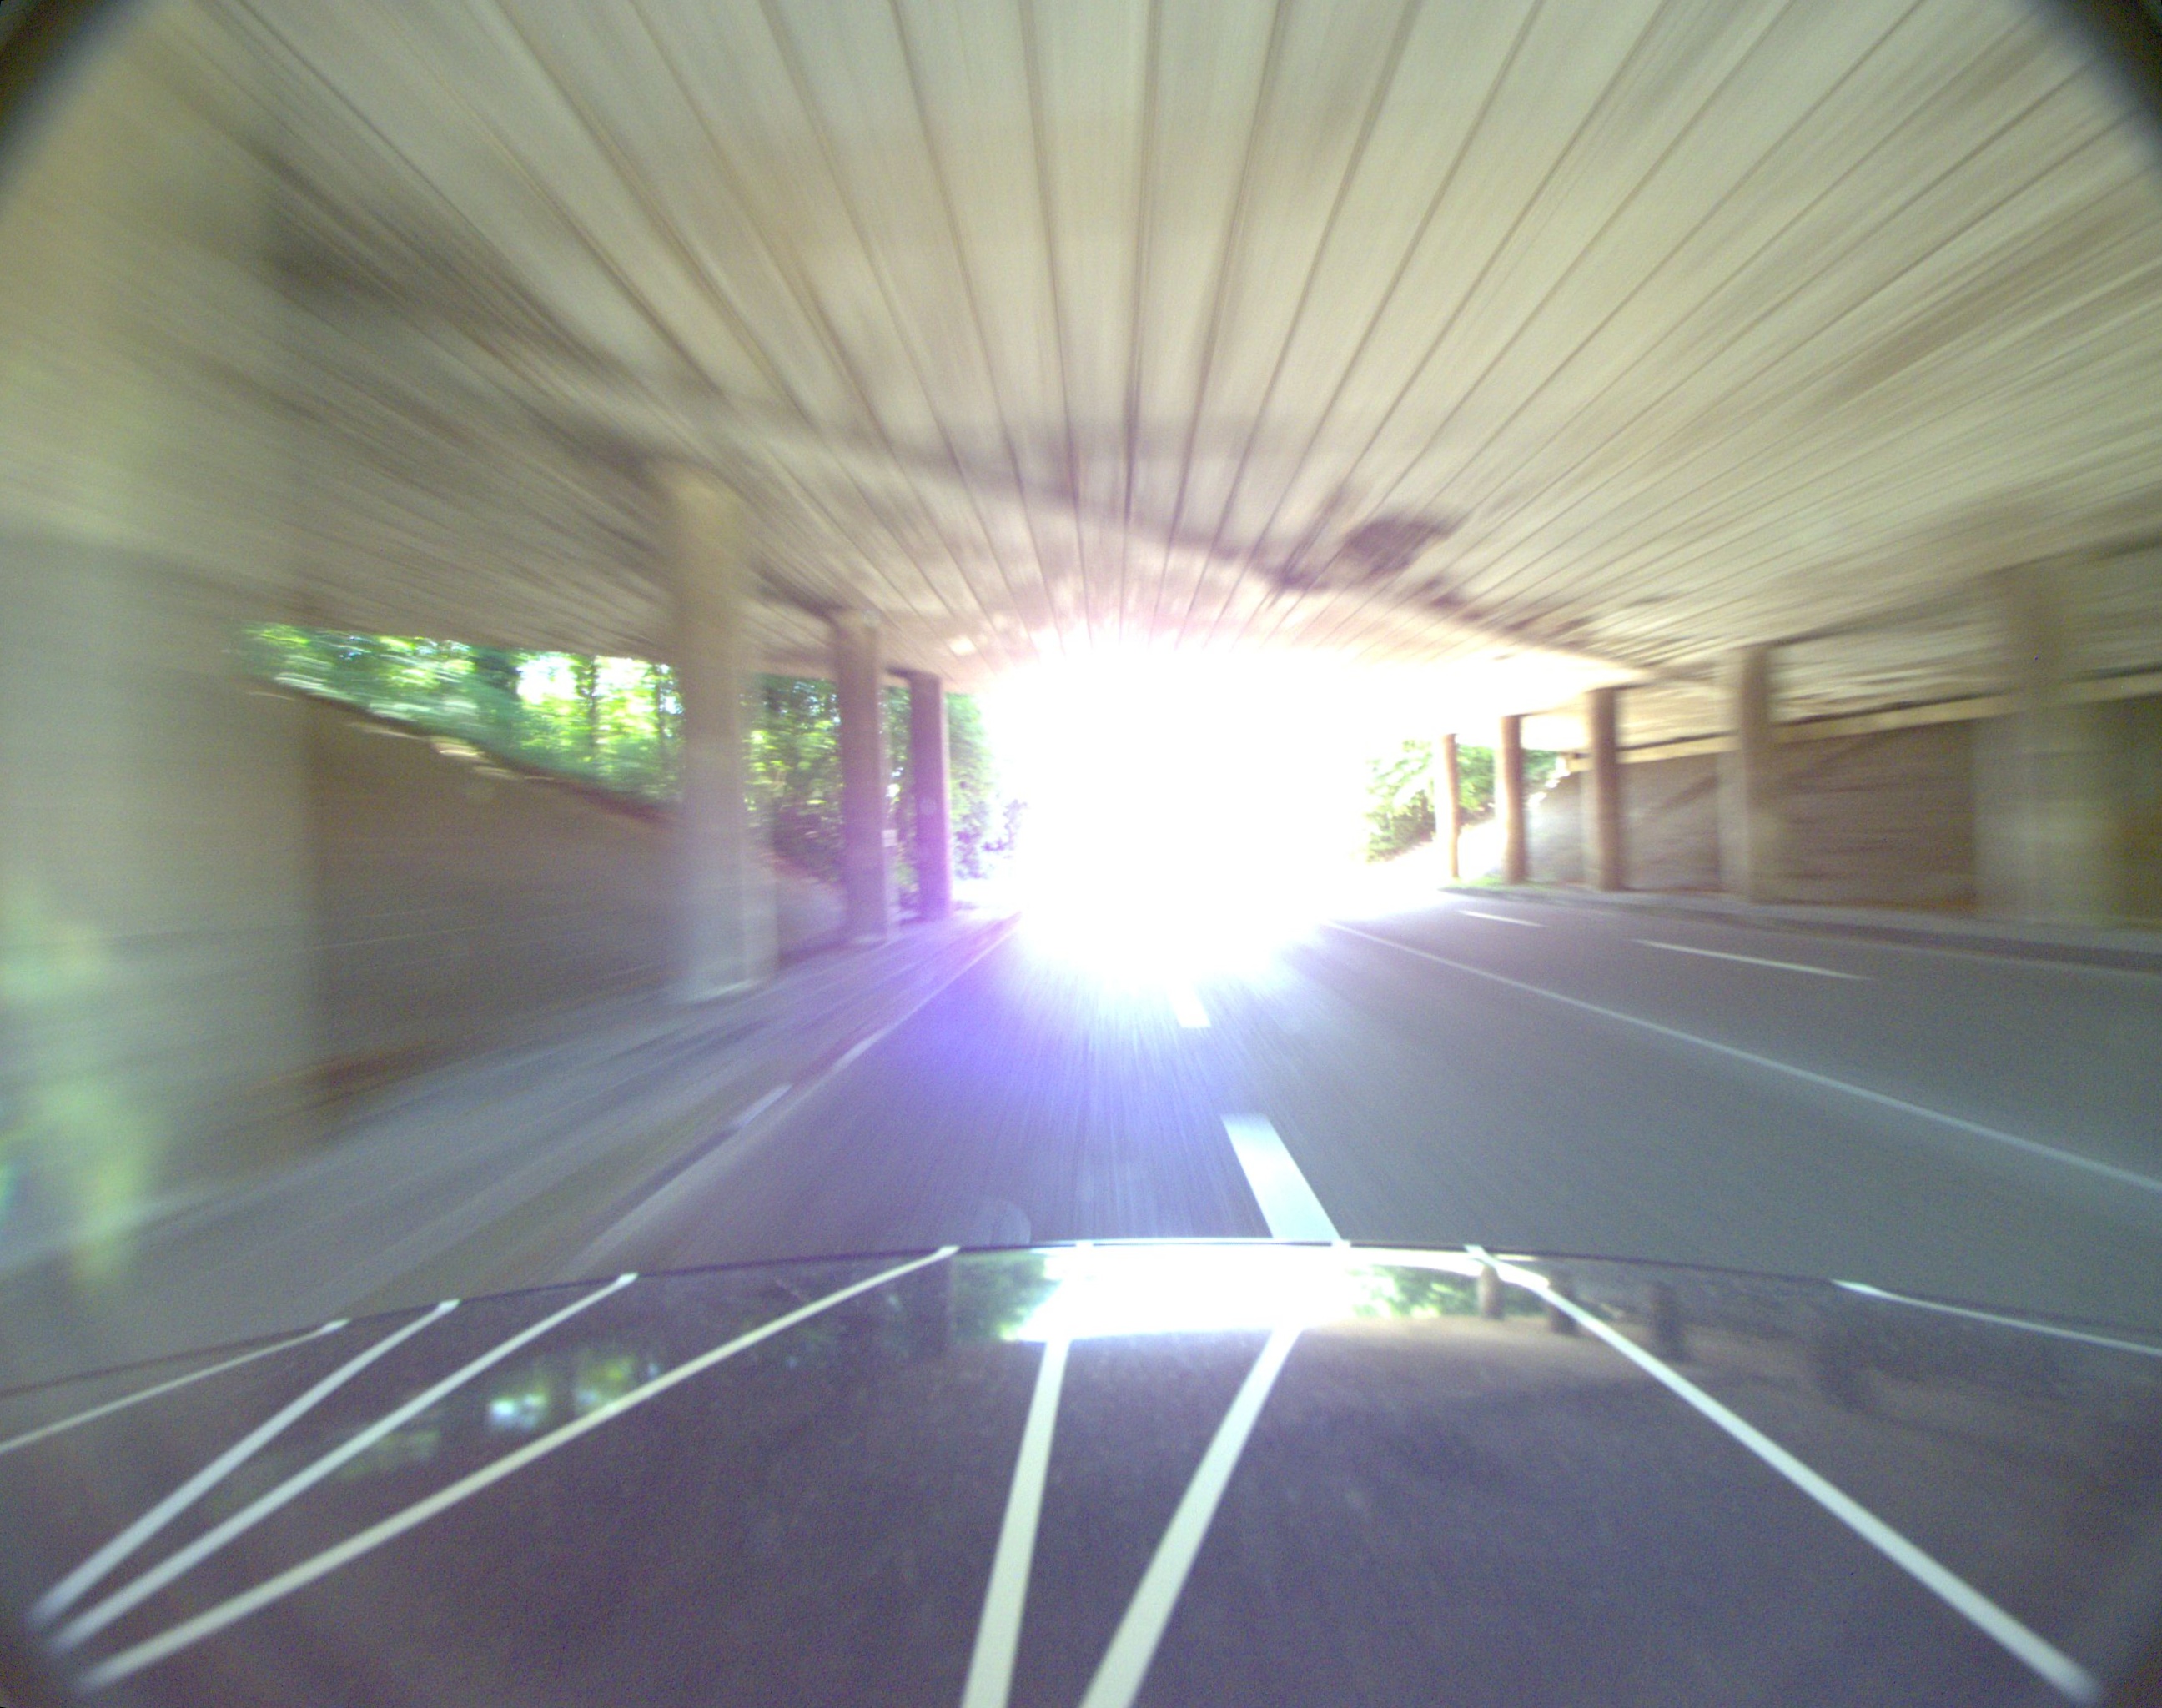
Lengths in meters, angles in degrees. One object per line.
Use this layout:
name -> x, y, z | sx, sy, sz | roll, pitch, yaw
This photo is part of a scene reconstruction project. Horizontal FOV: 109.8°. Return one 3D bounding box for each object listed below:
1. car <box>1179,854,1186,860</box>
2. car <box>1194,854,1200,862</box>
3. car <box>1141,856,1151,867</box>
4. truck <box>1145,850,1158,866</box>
car -> 29.292, 0.877, 218.716 | 1.997, 1.952, 4.002 | 0, 0, 7
car -> 32.883, 1.116, 215.386 | 1.844, 2.002, 4.003 | -1, 0, 8
car -> 10.844, 1.270, 126.761 | 1.746, 1.833, 4.002 | 0, 0, 4
truck -> 13.577, 0.802, 146.262 | 2.457, 2.926, 6.977 | 0, 0, 5
